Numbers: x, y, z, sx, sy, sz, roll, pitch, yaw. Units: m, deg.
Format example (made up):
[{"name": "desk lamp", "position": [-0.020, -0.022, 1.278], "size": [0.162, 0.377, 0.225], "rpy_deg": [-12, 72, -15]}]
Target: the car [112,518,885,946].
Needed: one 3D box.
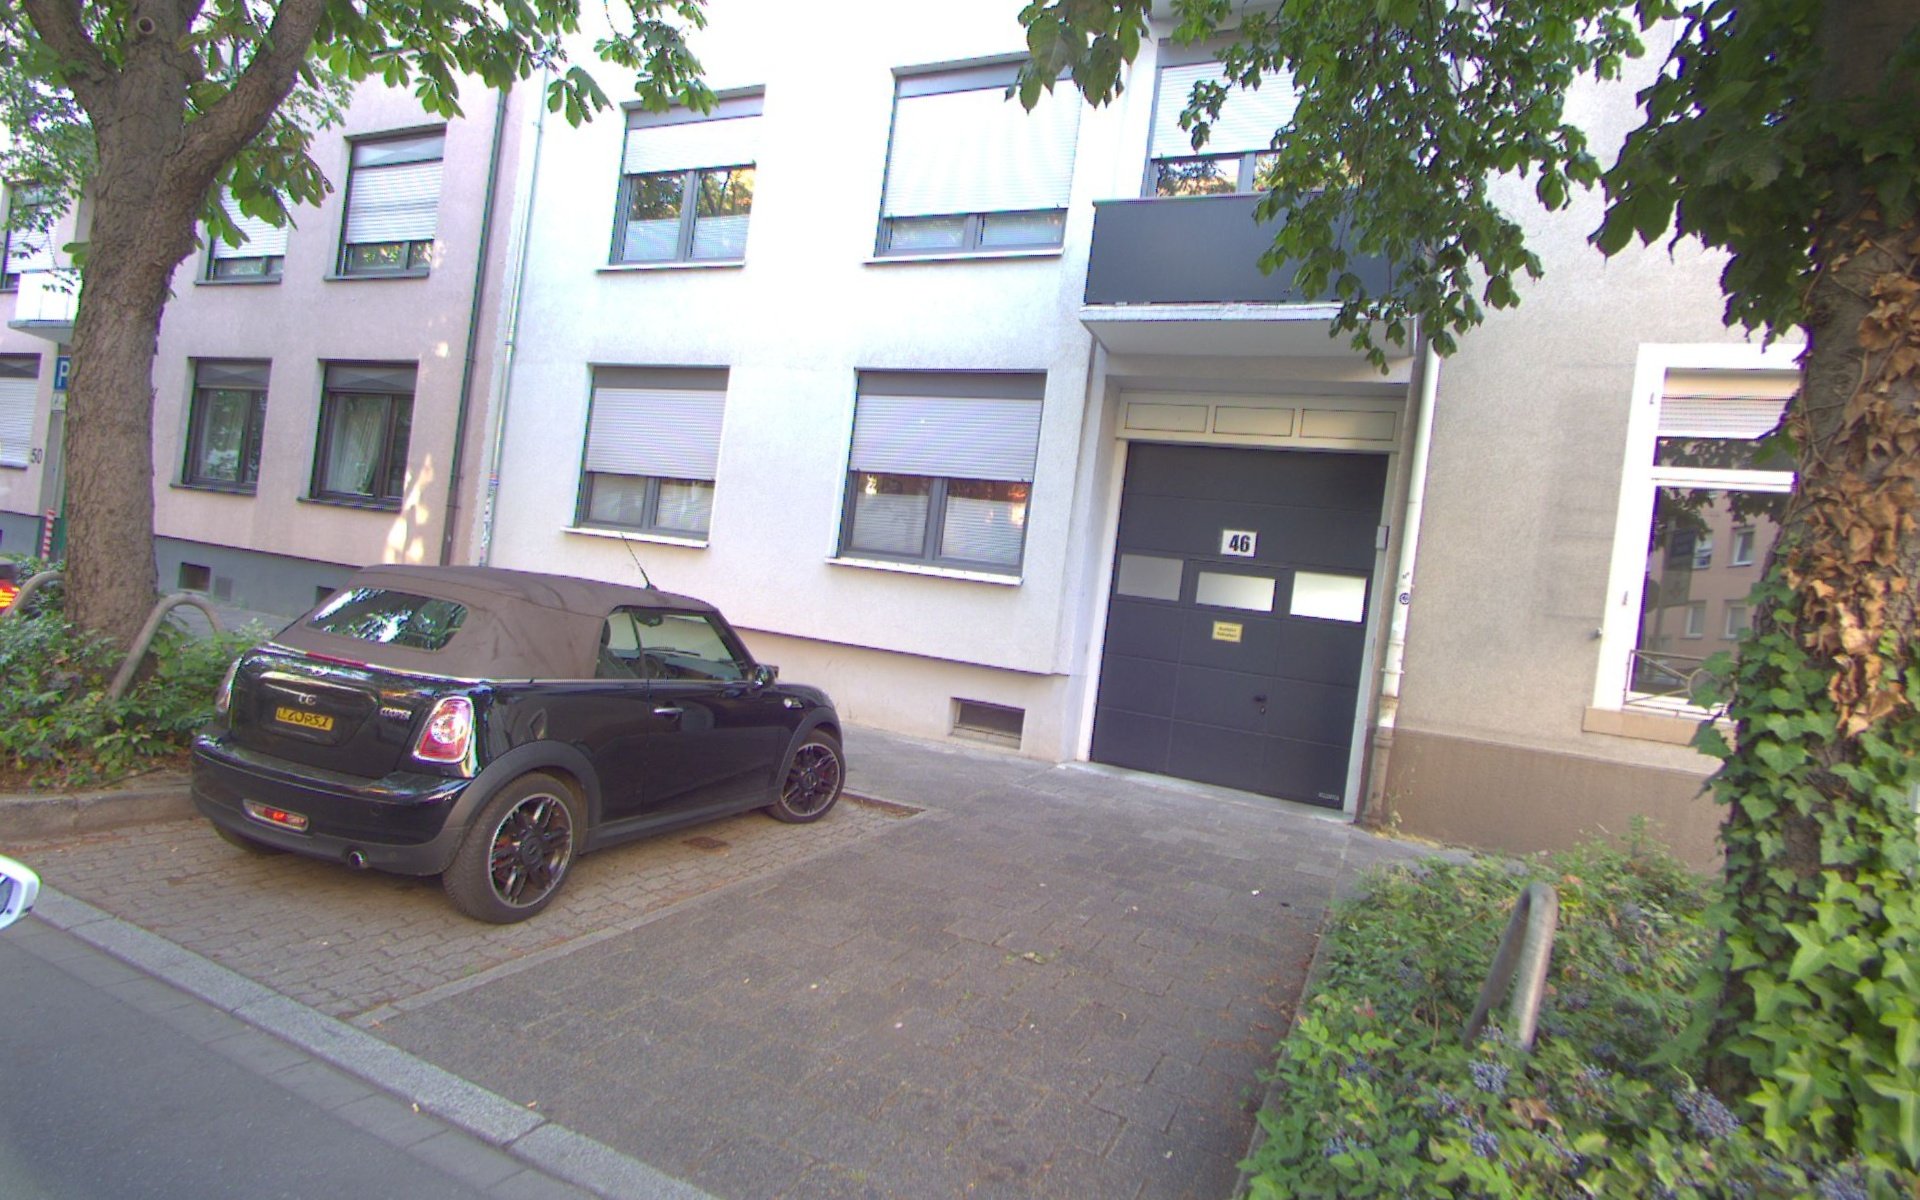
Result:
[{"name": "car", "position": [-2.016, 0.555, 5.530], "size": [1.634, 1.380, 3.622], "rpy_deg": [7, -1, 22]}]

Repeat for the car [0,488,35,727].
[{"name": "car", "position": [-8.080, -0.239, 5.062], "size": [1.773, 1.497, 4.745], "rpy_deg": [7, -1, 38]}]

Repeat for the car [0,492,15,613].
[{"name": "car", "position": [-13.346, -0.800, 11.041], "size": [1.634, 1.494, 3.921], "rpy_deg": [7, -1, 24]}]
